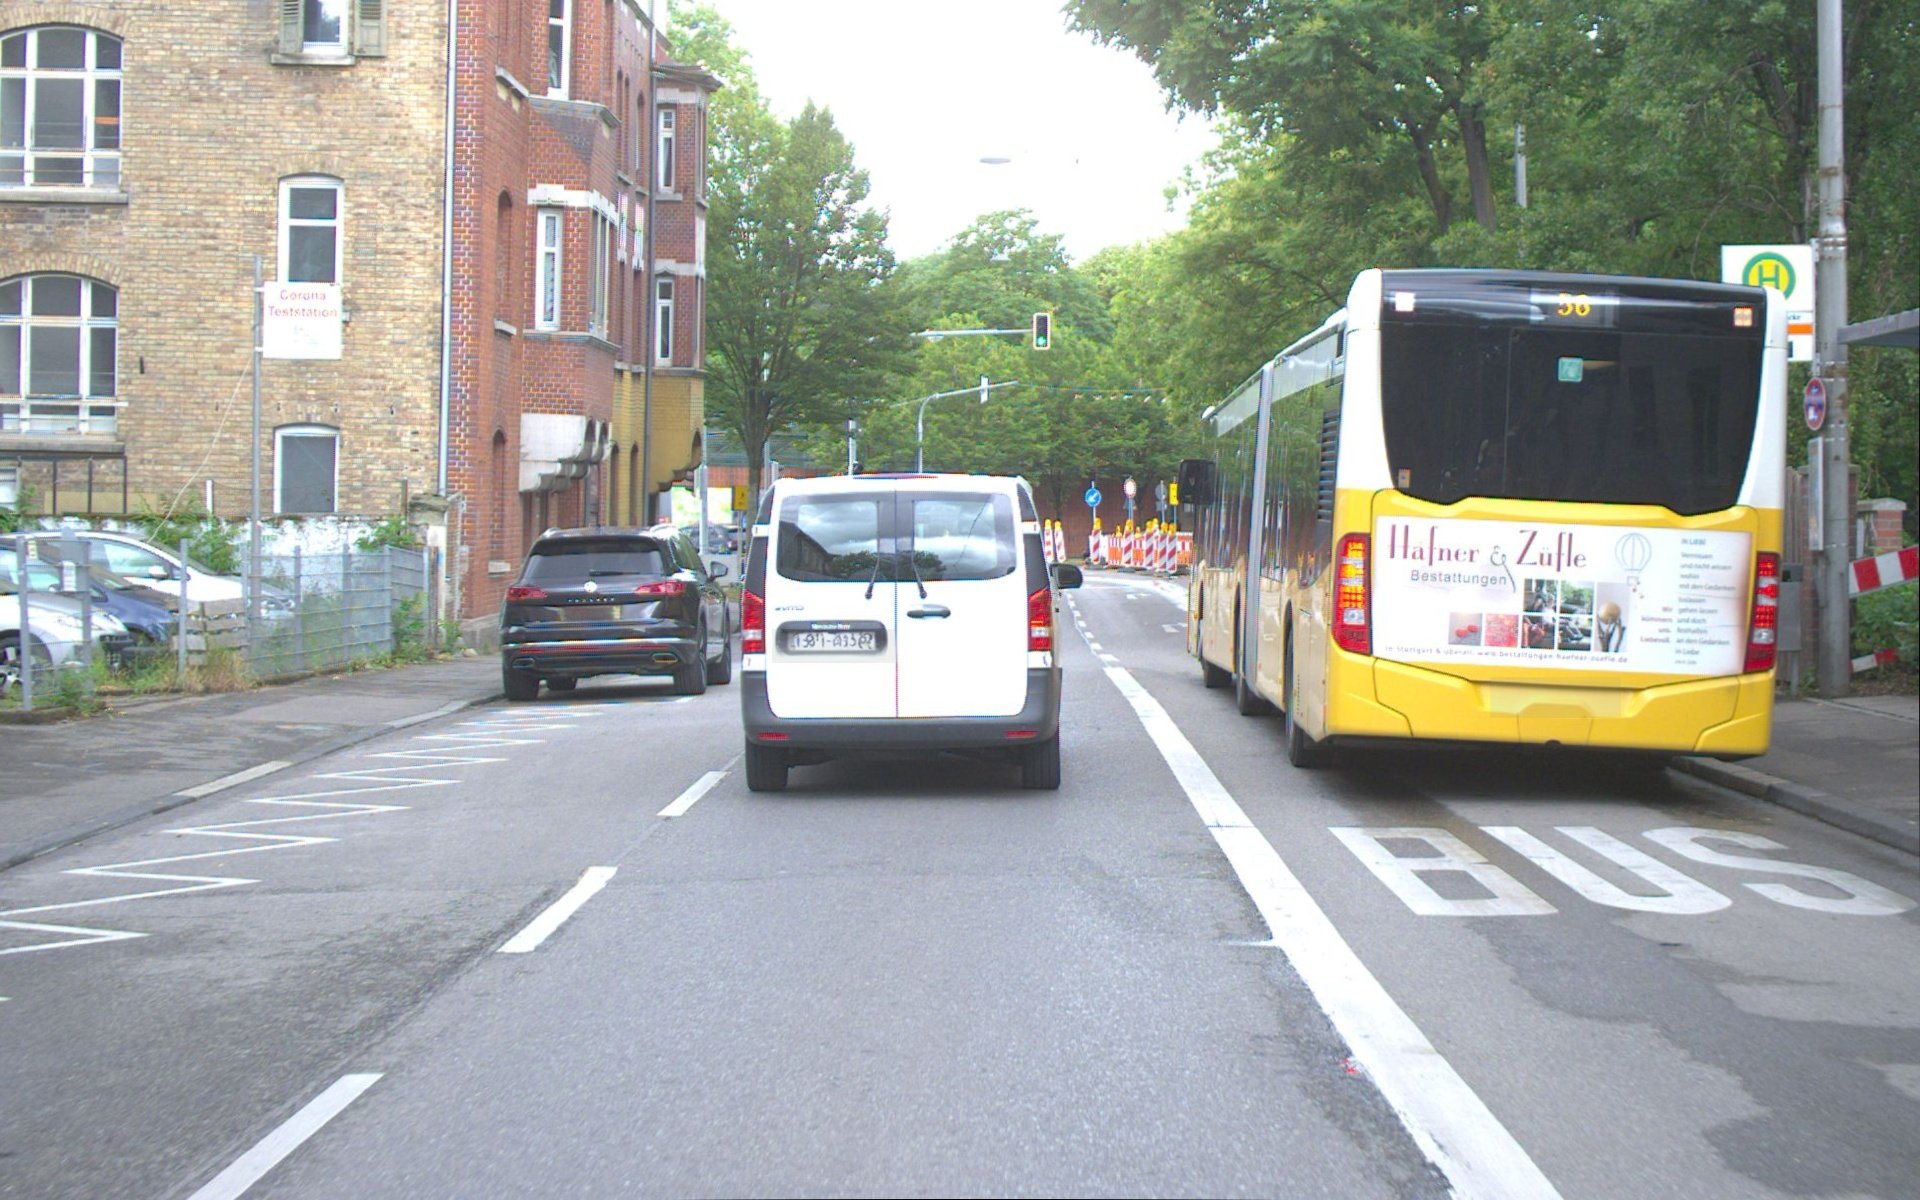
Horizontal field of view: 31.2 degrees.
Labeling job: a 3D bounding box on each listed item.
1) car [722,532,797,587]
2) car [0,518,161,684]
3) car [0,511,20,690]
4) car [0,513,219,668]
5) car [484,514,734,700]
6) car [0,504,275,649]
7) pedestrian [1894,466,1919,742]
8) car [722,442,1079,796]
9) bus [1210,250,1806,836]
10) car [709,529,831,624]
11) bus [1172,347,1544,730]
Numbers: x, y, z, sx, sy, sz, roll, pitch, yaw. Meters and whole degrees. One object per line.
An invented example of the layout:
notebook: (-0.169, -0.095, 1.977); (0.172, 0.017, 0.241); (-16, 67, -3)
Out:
car: (-6.197, -1.272, 105.819); (2.036, 1.480, 4.392); (1, 3, -7)
car: (-9.631, 0.019, 32.372); (3.723, 1.499, 1.853); (-1, 1, 2)
car: (-9.839, 0.039, 29.736); (2.847, 1.559, 1.853); (-1, 1, 2)
car: (-9.570, -0.095, 34.977); (3.596, 1.499, 1.853); (-1, 1, 2)
car: (-3.478, 0.007, 34.875); (1.954, 1.728, 4.774); (1, 2, 1)
car: (-9.991, -0.276, 40.140); (3.596, 1.606, 1.688); (-1, 1, 2)
pedestrian: (6.369, 0.022, 22.164); (0.450, 1.773, 0.672); (-2, 1, 1)
car: (-0.363, 0.135, 21.674); (1.917, 1.895, 4.701); (3, -1, -1)
bus: (3.378, -0.415, 23.957); (2.663, 3.125, 10.040); (2, 1, 1)
car: (-3.353, -0.448, 61.399); (1.725, 1.480, 4.390); (1, 3, 2)
bus: (3.633, -0.609, 33.586); (2.672, 3.128, 9.218); (2, 1, 1)
